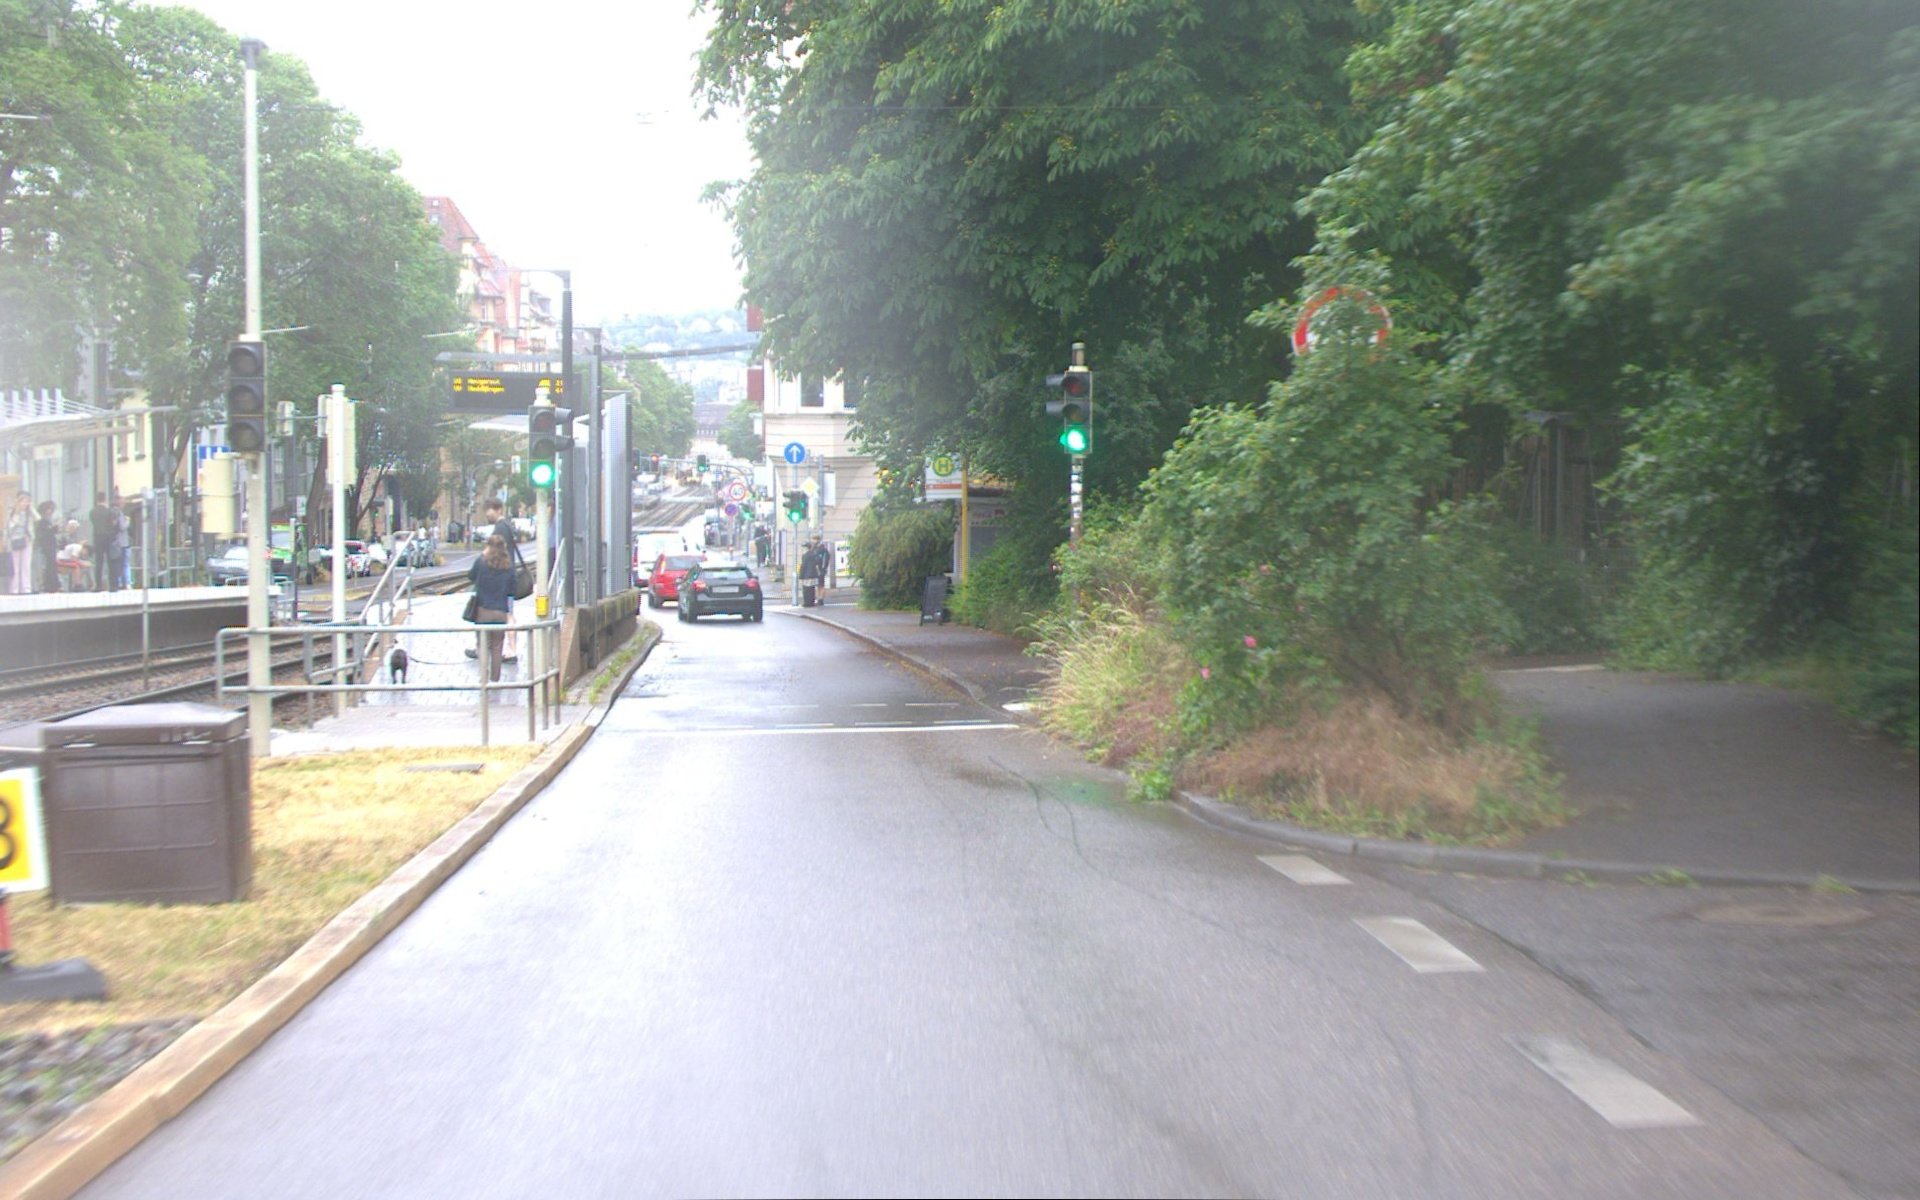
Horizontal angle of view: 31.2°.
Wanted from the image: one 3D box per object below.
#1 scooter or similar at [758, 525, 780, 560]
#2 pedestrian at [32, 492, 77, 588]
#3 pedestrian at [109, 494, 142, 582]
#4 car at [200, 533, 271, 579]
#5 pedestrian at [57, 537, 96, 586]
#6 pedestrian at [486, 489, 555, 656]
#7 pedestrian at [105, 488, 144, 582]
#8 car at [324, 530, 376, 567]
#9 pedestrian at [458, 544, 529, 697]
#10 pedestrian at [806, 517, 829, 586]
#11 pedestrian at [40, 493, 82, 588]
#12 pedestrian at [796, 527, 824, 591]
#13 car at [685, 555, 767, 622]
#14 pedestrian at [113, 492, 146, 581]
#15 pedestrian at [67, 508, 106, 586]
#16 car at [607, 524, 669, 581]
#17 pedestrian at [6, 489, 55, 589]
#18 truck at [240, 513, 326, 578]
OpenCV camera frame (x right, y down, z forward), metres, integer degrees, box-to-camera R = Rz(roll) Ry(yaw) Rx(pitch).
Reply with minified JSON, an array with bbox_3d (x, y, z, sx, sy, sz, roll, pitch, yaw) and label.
[{"bbox_3d":[-8.934,-2.674,160.433,0.918,1.599,0.863,-1,2,-8],"label":"scooter or similar"},{"bbox_3d":[-15.924,-1.055,60.450,0.594,1.660,0.591,-3,1,-4],"label":"pedestrian"},{"bbox_3d":[-16.724,-1.239,68.918,0.482,1.735,0.563,-3,1,-4],"label":"pedestrian"},{"bbox_3d":[-25.490,-1.556,121.079,1.726,1.510,4.496,-1,2,-3],"label":"car"},{"bbox_3d":[-16.126,-0.701,62.730,0.550,0.869,0.614,-3,1,-4],"label":"pedestrian"},{"bbox_3d":[-4.747,-0.299,37.180,0.650,1.778,0.848,-1,1,-3],"label":"pedestrian"},{"bbox_3d":[-15.776,-1.228,64.901,0.550,1.735,0.614,-3,1,-4],"label":"pedestrian"},{"bbox_3d":[-27.016,-2.288,152.367,1.773,1.541,4.256,-3,2,-4],"label":"car"},{"bbox_3d":[-4.821,0.202,35.581,0.650,1.557,0.684,-1,1,-3],"label":"pedestrian"},{"bbox_3d":[-3.773,-1.280,90.890,0.553,1.807,0.651,-1,1,-6],"label":"pedestrian"},{"bbox_3d":[-16.106,-1.061,61.568,0.550,1.660,0.614,-3,1,-4],"label":"pedestrian"},{"bbox_3d":[-3.939,-1.080,90.255,0.695,1.689,0.556,-1,1,-6],"label":"pedestrian"},{"bbox_3d":[-5.626,-0.294,82.460,1.851,1.468,4.001,-1,2,-5],"label":"car"},{"bbox_3d":[-16.503,-1.254,68.340,0.482,1.735,0.563,-3,1,-4],"label":"pedestrian"},{"bbox_3d":[-16.164,-0.981,63.625,0.550,1.408,0.614,-3,1,-4],"label":"pedestrian"},{"bbox_3d":[-10.480,-1.548,111.829,1.948,1.787,4.145,0,1,-5],"label":"car"},{"bbox_3d":[-15.704,-1.033,58.109,0.594,1.660,0.762,-3,1,-4],"label":"pedestrian"},{"bbox_3d":[-25.800,-2.097,131.231,2.051,2.385,6.322,-1,1,-1],"label":"truck"}]
